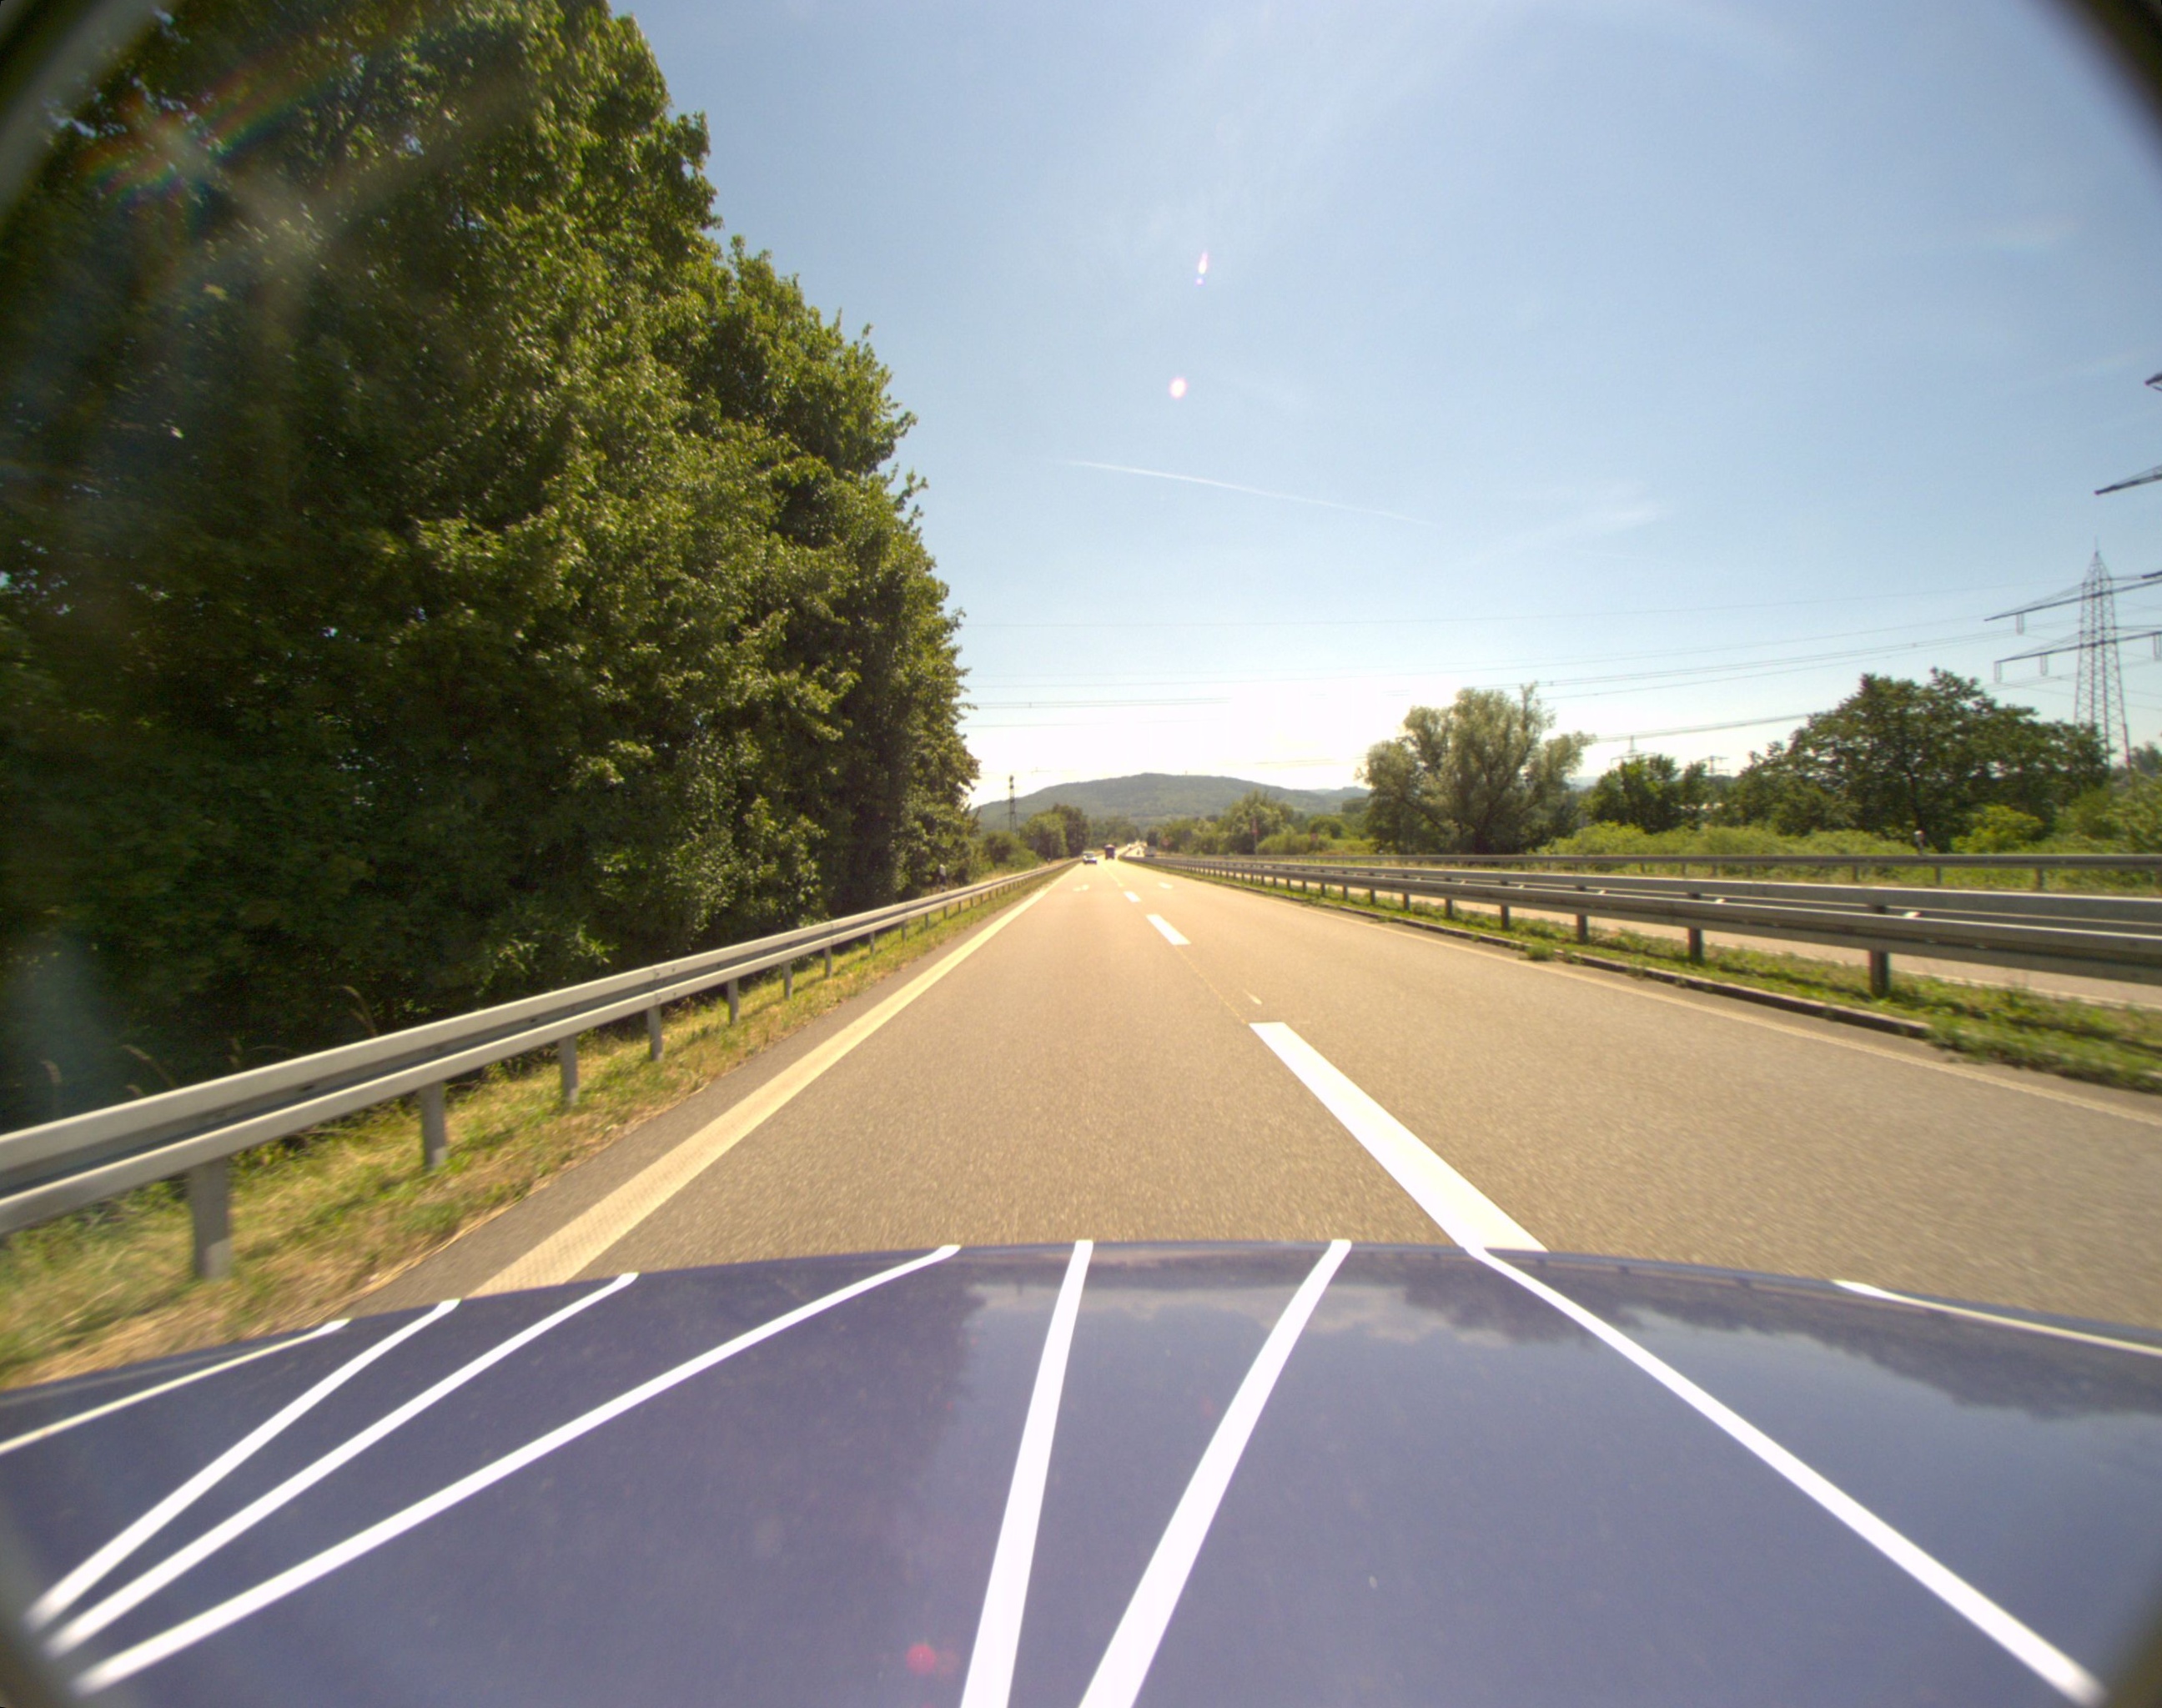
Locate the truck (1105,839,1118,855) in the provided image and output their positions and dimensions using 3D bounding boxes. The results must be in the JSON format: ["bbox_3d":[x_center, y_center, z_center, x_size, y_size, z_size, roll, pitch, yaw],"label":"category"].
[{"bbox_3d":[8.103,-1.896,203.699,2.826,4.143,9.950,-2,1,5],"label":"truck"}]

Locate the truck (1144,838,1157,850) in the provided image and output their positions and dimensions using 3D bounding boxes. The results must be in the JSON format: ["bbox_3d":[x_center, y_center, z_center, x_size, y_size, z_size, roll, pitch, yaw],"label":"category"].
[{"bbox_3d":[18.506,-2.616,203.171,2.725,3.174,8.405,-1,0,1],"label":"truck"}]

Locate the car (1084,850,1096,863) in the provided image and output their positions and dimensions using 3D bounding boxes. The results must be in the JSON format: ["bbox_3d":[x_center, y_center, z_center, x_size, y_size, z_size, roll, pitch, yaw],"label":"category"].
[{"bbox_3d":[1.516,0.436,129.797,1.619,2.086,3.486,-2,1,5],"label":"car"}]

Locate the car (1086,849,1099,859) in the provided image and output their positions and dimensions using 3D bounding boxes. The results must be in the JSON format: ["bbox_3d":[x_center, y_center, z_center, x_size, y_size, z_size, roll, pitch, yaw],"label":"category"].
[{"bbox_3d":[1.671,0.037,110.626,1.577,1.387,3.486,-2,1,5],"label":"car"}]
